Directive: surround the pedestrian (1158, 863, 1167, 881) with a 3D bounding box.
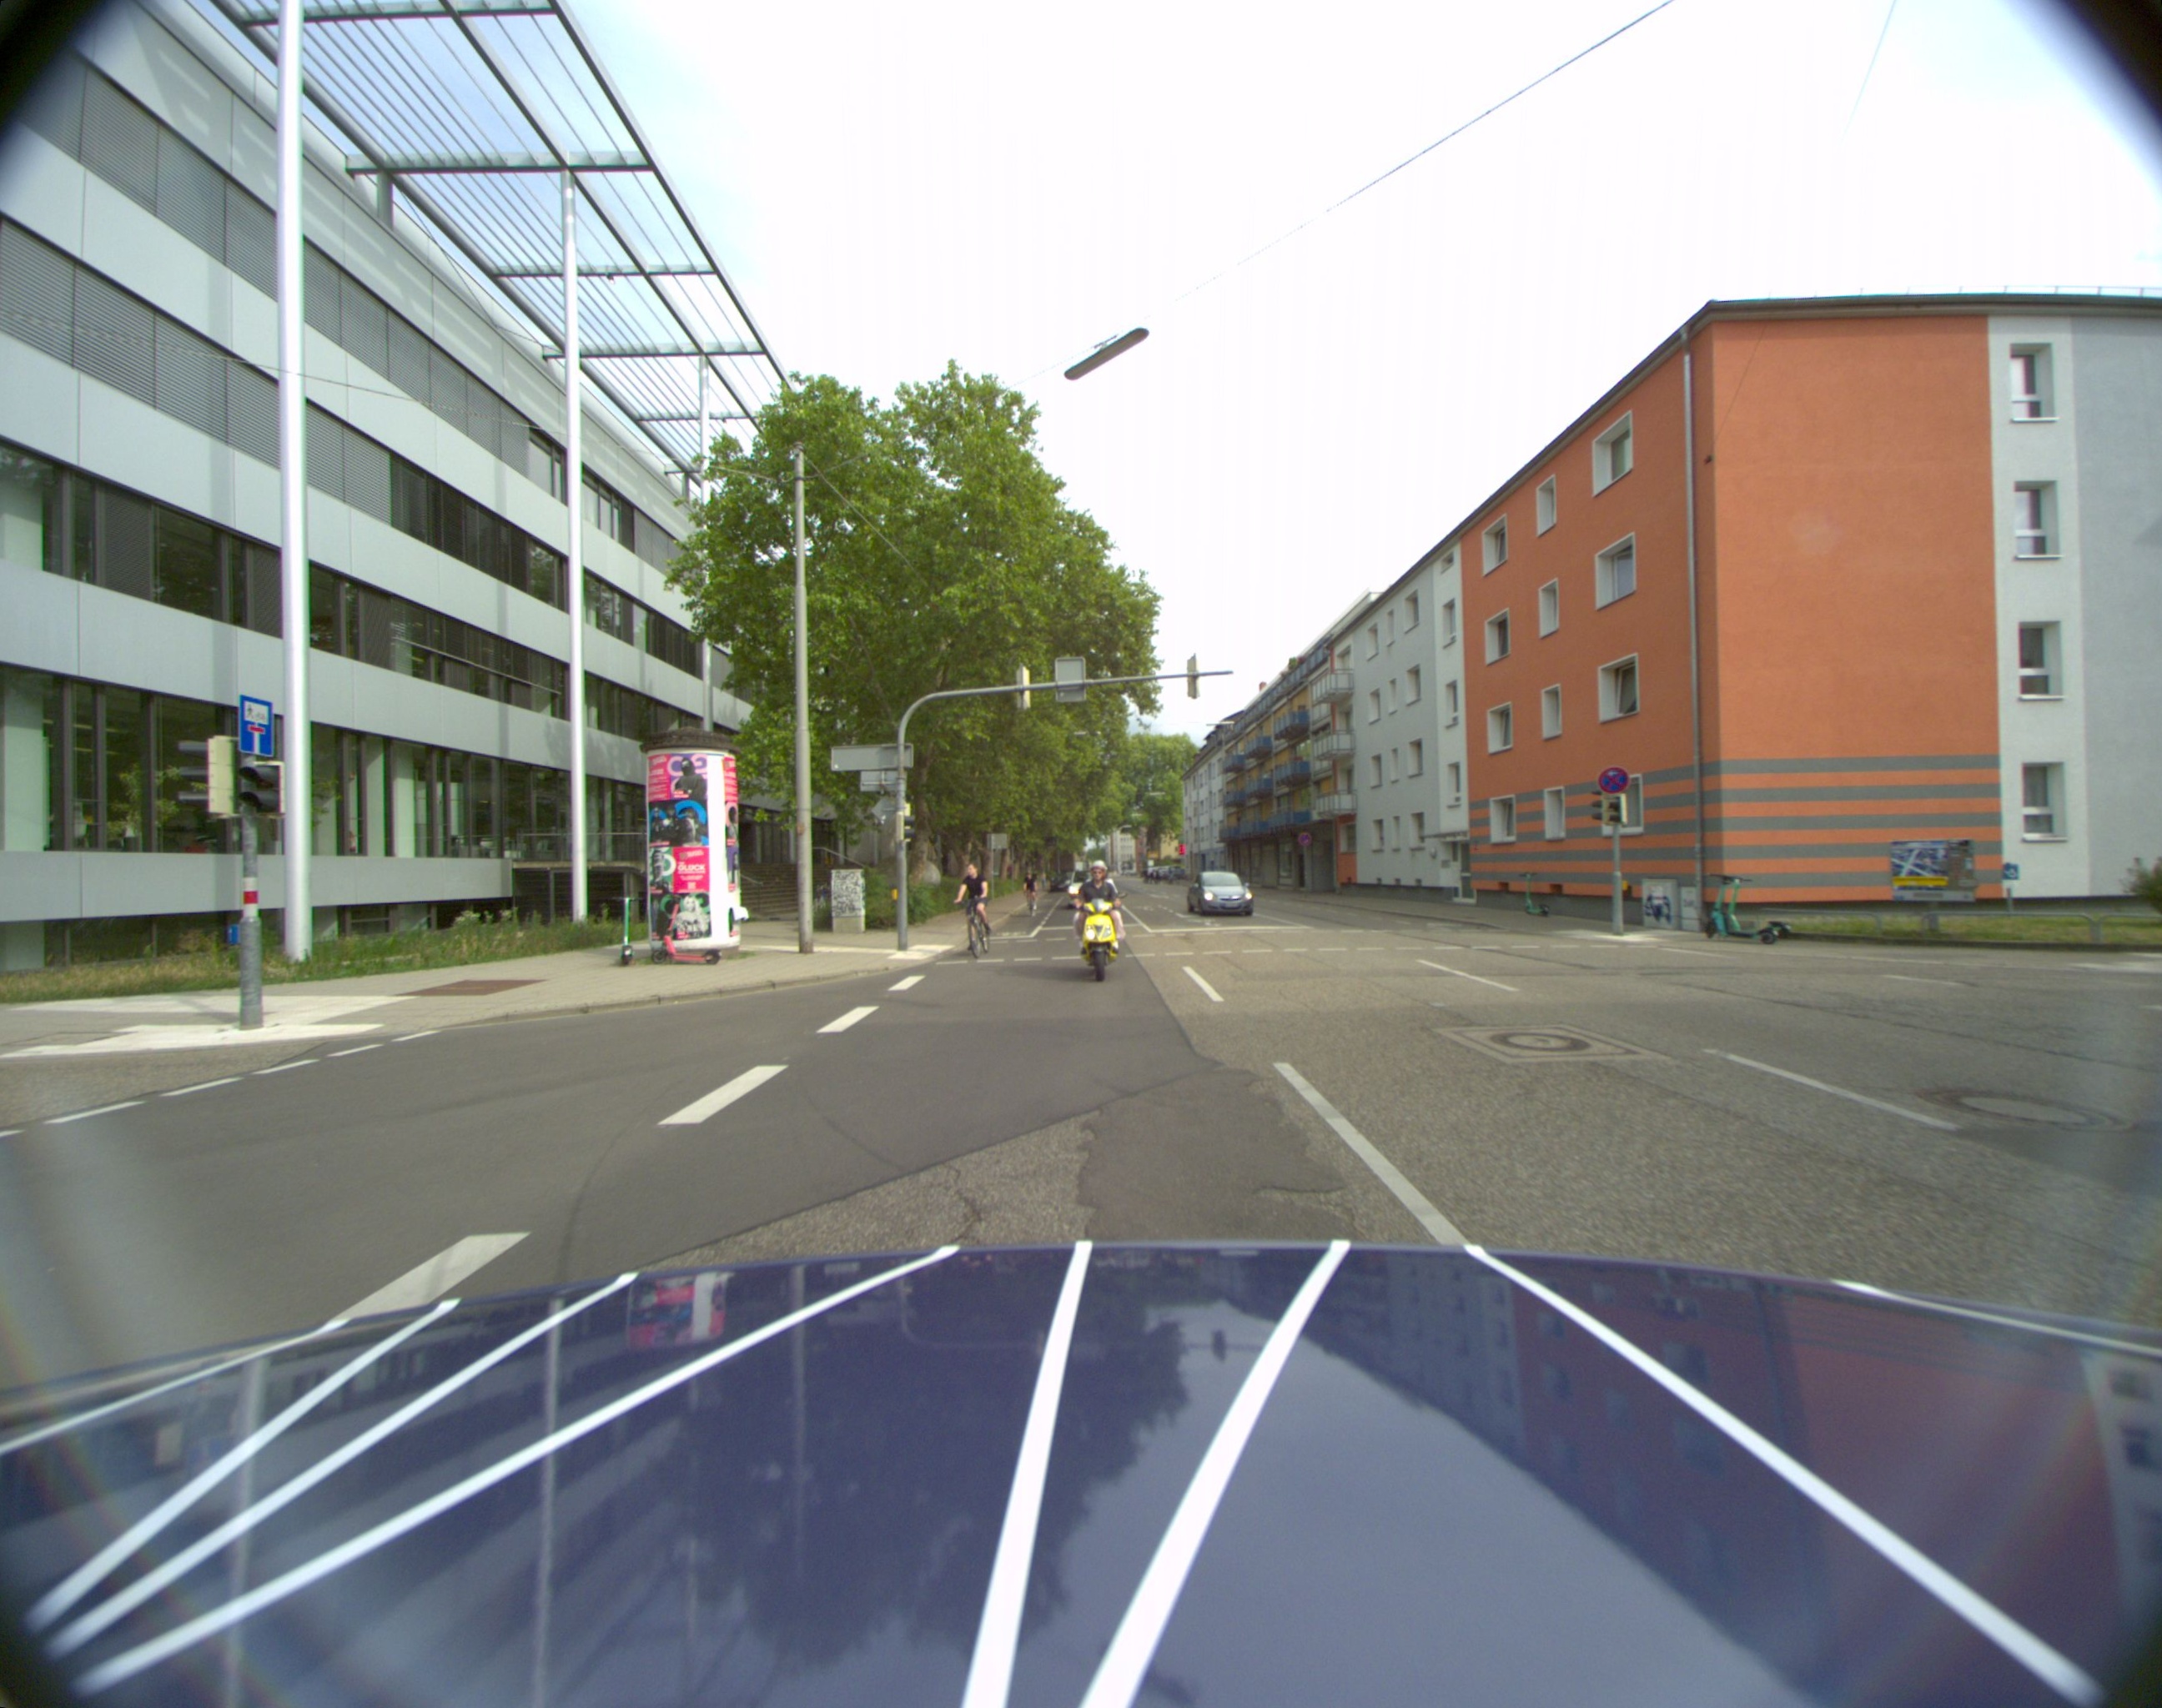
[{"bbox_3d":[9.096,1.977,84.557,0.842,2.001,0.875,-3,0,4],"label":"pedestrian"}]

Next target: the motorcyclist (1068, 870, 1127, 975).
[{"bbox_3d":[0.242,0.939,10.697,0.781,1.418,0.764,-1,-2,2],"label":"motorcyclist"}]

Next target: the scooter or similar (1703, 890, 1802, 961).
[{"bbox_3d":[11.993,1.247,13.624,0.330,1.172,1.342,-3,-1,-13],"label":"scooter or similar"}]

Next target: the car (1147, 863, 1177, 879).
[{"bbox_3d":[11.715,2.477,110.442,3.997,2.001,2.000,-3,-1,0],"label":"car"}]

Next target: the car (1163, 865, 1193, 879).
[{"bbox_3d":[13.535,2.491,105.853,3.870,1.678,1.883,-3,-1,0],"label":"car"}]

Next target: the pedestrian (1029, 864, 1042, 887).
[{"bbox_3d":[-4.151,1.949,69.223,1.003,2.001,0.998,-3,-1,2],"label":"pedestrian"}]

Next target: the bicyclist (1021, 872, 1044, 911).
[{"bbox_3d":[-1.850,1.419,28.953,0.784,1.438,0.914,-3,-1,-2],"label":"bicyclist"}]

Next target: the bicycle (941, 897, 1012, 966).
[{"bbox_3d":[-2.007,1.479,14.861,0.772,1.124,2.005,-4,-1,9],"label":"bicycle"}]

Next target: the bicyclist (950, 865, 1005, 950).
[{"bbox_3d":[-2.020,1.037,14.887,0.772,1.573,0.802,-4,-1,8],"label":"bicyclist"}]

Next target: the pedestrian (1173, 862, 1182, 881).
[{"bbox_3d":[10.488,1.916,82.361,0.842,2.001,0.875,-3,0,4],"label":"pedestrian"}]

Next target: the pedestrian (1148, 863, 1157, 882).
[{"bbox_3d":[7.868,2.044,83.219,0.842,2.001,0.875,-3,0,4],"label":"pedestrian"}]

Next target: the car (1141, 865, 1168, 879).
[{"bbox_3d":[11.792,2.855,122.462,3.997,2.001,2.000,-3,-1,0],"label":"car"}]

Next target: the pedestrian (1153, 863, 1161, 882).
[{"bbox_3d":[8.251,2.011,82.485,0.842,2.001,0.875,-3,0,4],"label":"pedestrian"}]

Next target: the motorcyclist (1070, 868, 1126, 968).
[{"bbox_3d":[0.260,0.933,11.279,0.781,1.419,0.689,-1,-1,2],"label":"motorcyclist"}]

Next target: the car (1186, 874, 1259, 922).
[{"bbox_3d":[4.653,1.403,25.453,1.673,1.430,3.820,-1,-1,0],"label":"car"}]

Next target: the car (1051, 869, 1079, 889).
[{"bbox_3d":[-1.295,2.039,63.287,1.998,1.532,4.272,-3,-1,2],"label":"car"}]

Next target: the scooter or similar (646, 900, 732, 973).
[{"bbox_3d":[-6.708,1.403,13.024,1.309,1.202,0.344,1,0,5],"label":"scooter or similar"}]

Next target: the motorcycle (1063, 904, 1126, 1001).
[{"bbox_3d":[0.218,1.317,10.660,0.781,1.170,1.993,-1,-2,3],"label":"motorcycle"}]

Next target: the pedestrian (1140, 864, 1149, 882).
[{"bbox_3d":[7.164,2.157,86.009,0.842,2.001,0.875,-3,0,4],"label":"pedestrian"}]

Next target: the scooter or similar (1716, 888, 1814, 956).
[{"bbox_3d":[12.574,1.222,14.017,0.330,1.151,1.353,-3,-1,-13],"label":"scooter or similar"}]

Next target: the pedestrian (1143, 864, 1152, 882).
[{"bbox_3d":[7.452,2.100,85.183,0.842,2.001,0.875,-3,0,4],"label":"pedestrian"}]

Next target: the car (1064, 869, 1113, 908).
[{"bbox_3d":[0.408,1.492,34.185,1.998,1.542,4.522,-3,-1,3],"label":"car"}]

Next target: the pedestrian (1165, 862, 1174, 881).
[{"bbox_3d":[9.533,1.885,82.234,0.842,2.001,0.875,-3,0,4],"label":"pedestrian"}]

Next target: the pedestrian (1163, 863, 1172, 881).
[{"bbox_3d":[9.660,1.981,85.008,0.842,2.001,0.875,-3,0,4],"label":"pedestrian"}]

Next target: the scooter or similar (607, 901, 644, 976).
[{"bbox_3d":[-7.807,1.411,12.995,0.473,1.130,1.307,1,0,-34],"label":"scooter or similar"}]

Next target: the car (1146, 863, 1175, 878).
[{"bbox_3d":[11.792,2.494,113.335,3.997,2.001,2.000,-3,-1,0],"label":"car"}]

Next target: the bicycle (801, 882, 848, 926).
[{"bbox_3d":[-7.290,1.401,21.690,0.700,1.162,1.726,-3,-1,0],"label":"bicycle"}]

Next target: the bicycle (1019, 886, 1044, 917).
[{"bbox_3d":[-1.843,1.775,28.745,0.771,1.009,2.407,-5,-1,-2],"label":"bicycle"}]

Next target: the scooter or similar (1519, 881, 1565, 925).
[{"bbox_3d":[12.386,1.297,20.465,0.369,1.117,1.354,-3,-1,1],"label":"scooter or similar"}]

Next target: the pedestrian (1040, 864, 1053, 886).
[{"bbox_3d":[-3.134,1.912,69.071,1.003,2.001,0.998,-3,-1,2],"label":"pedestrian"}]
